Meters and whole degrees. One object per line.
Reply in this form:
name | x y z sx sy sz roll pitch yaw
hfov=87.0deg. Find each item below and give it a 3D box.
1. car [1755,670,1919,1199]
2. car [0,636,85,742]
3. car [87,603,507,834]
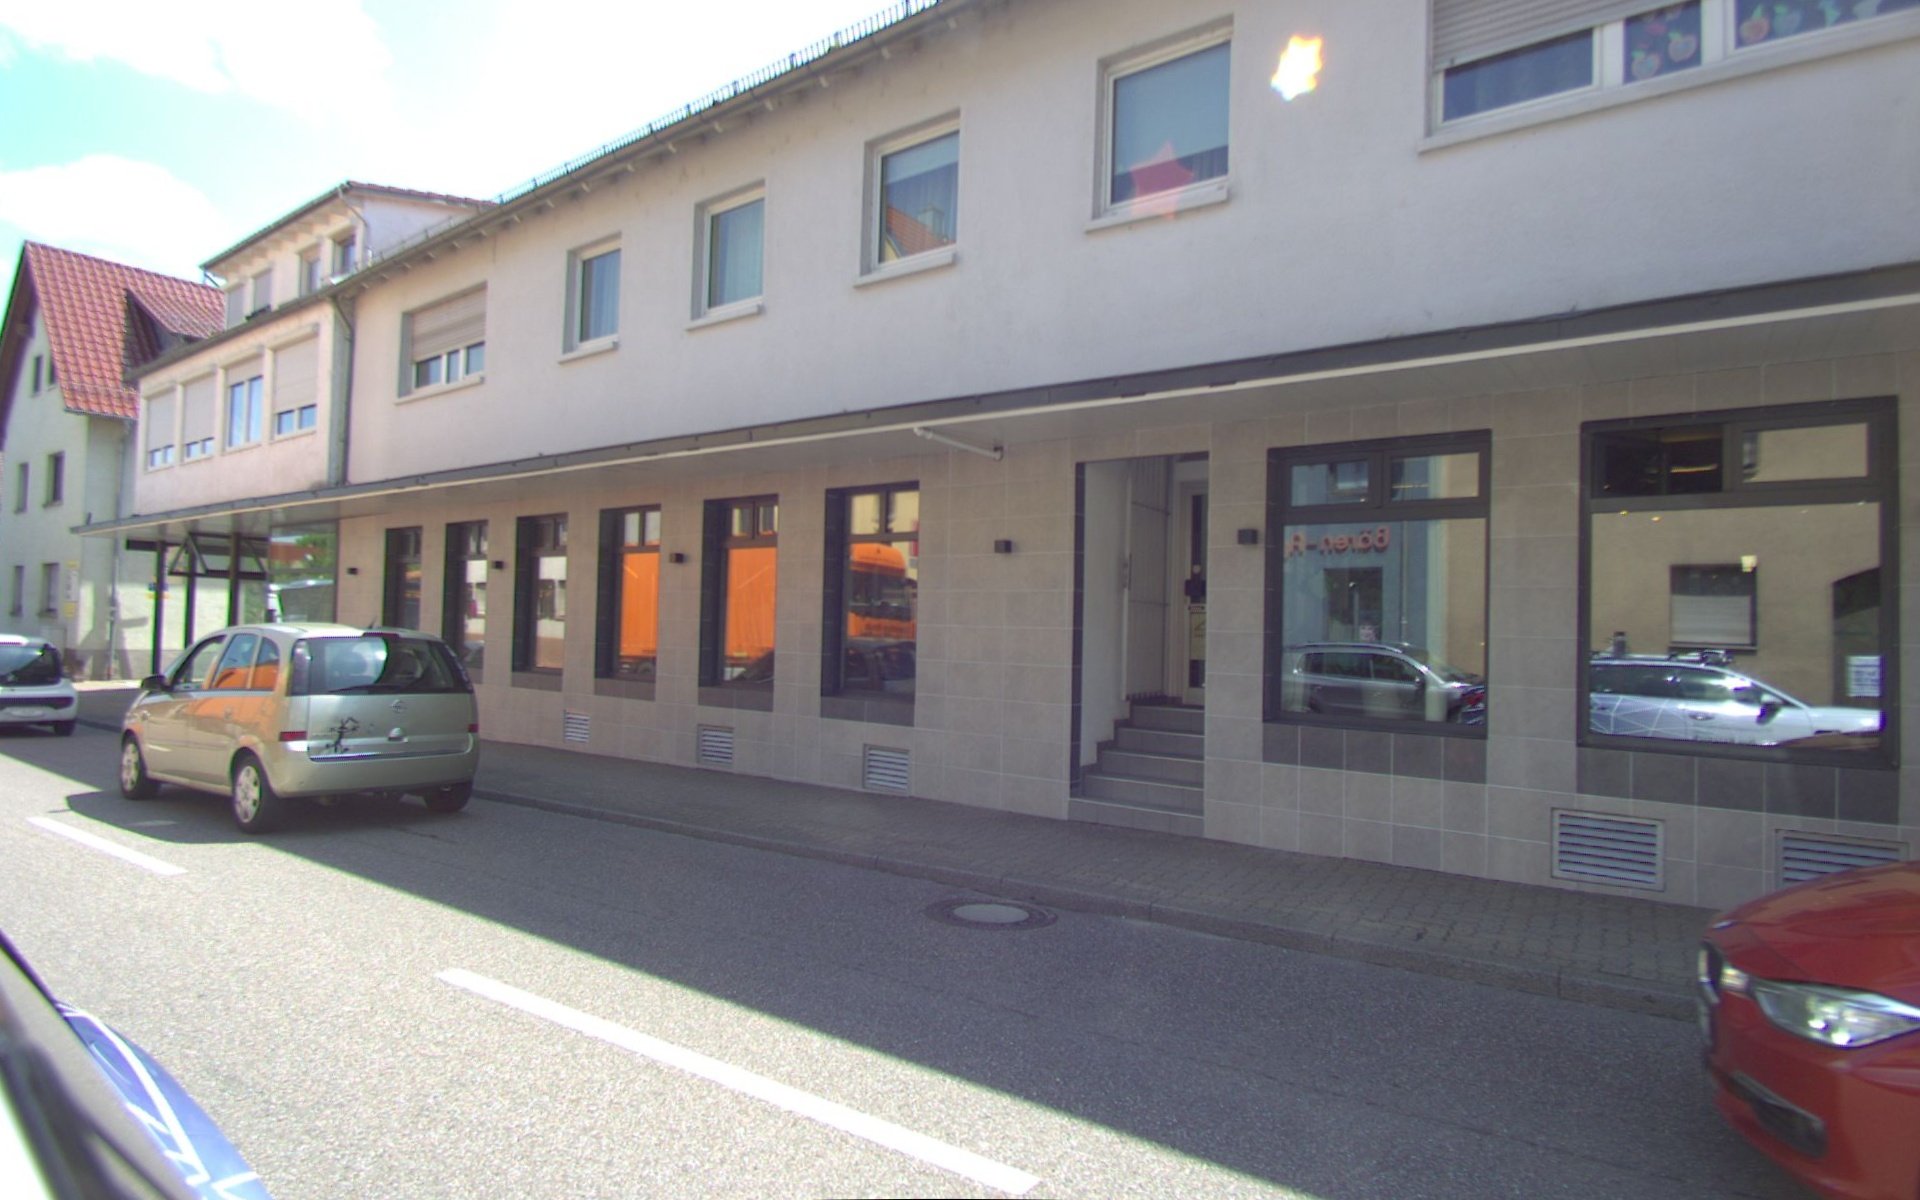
car | 4.209 0.871 1.766 4.274 1.419 1.703 -2 -6 35
car | -14.703 1.264 15.145 3.439 1.466 1.583 -1 -5 35
car | -5.915 0.972 8.933 3.811 1.629 1.665 -2 -7 34
